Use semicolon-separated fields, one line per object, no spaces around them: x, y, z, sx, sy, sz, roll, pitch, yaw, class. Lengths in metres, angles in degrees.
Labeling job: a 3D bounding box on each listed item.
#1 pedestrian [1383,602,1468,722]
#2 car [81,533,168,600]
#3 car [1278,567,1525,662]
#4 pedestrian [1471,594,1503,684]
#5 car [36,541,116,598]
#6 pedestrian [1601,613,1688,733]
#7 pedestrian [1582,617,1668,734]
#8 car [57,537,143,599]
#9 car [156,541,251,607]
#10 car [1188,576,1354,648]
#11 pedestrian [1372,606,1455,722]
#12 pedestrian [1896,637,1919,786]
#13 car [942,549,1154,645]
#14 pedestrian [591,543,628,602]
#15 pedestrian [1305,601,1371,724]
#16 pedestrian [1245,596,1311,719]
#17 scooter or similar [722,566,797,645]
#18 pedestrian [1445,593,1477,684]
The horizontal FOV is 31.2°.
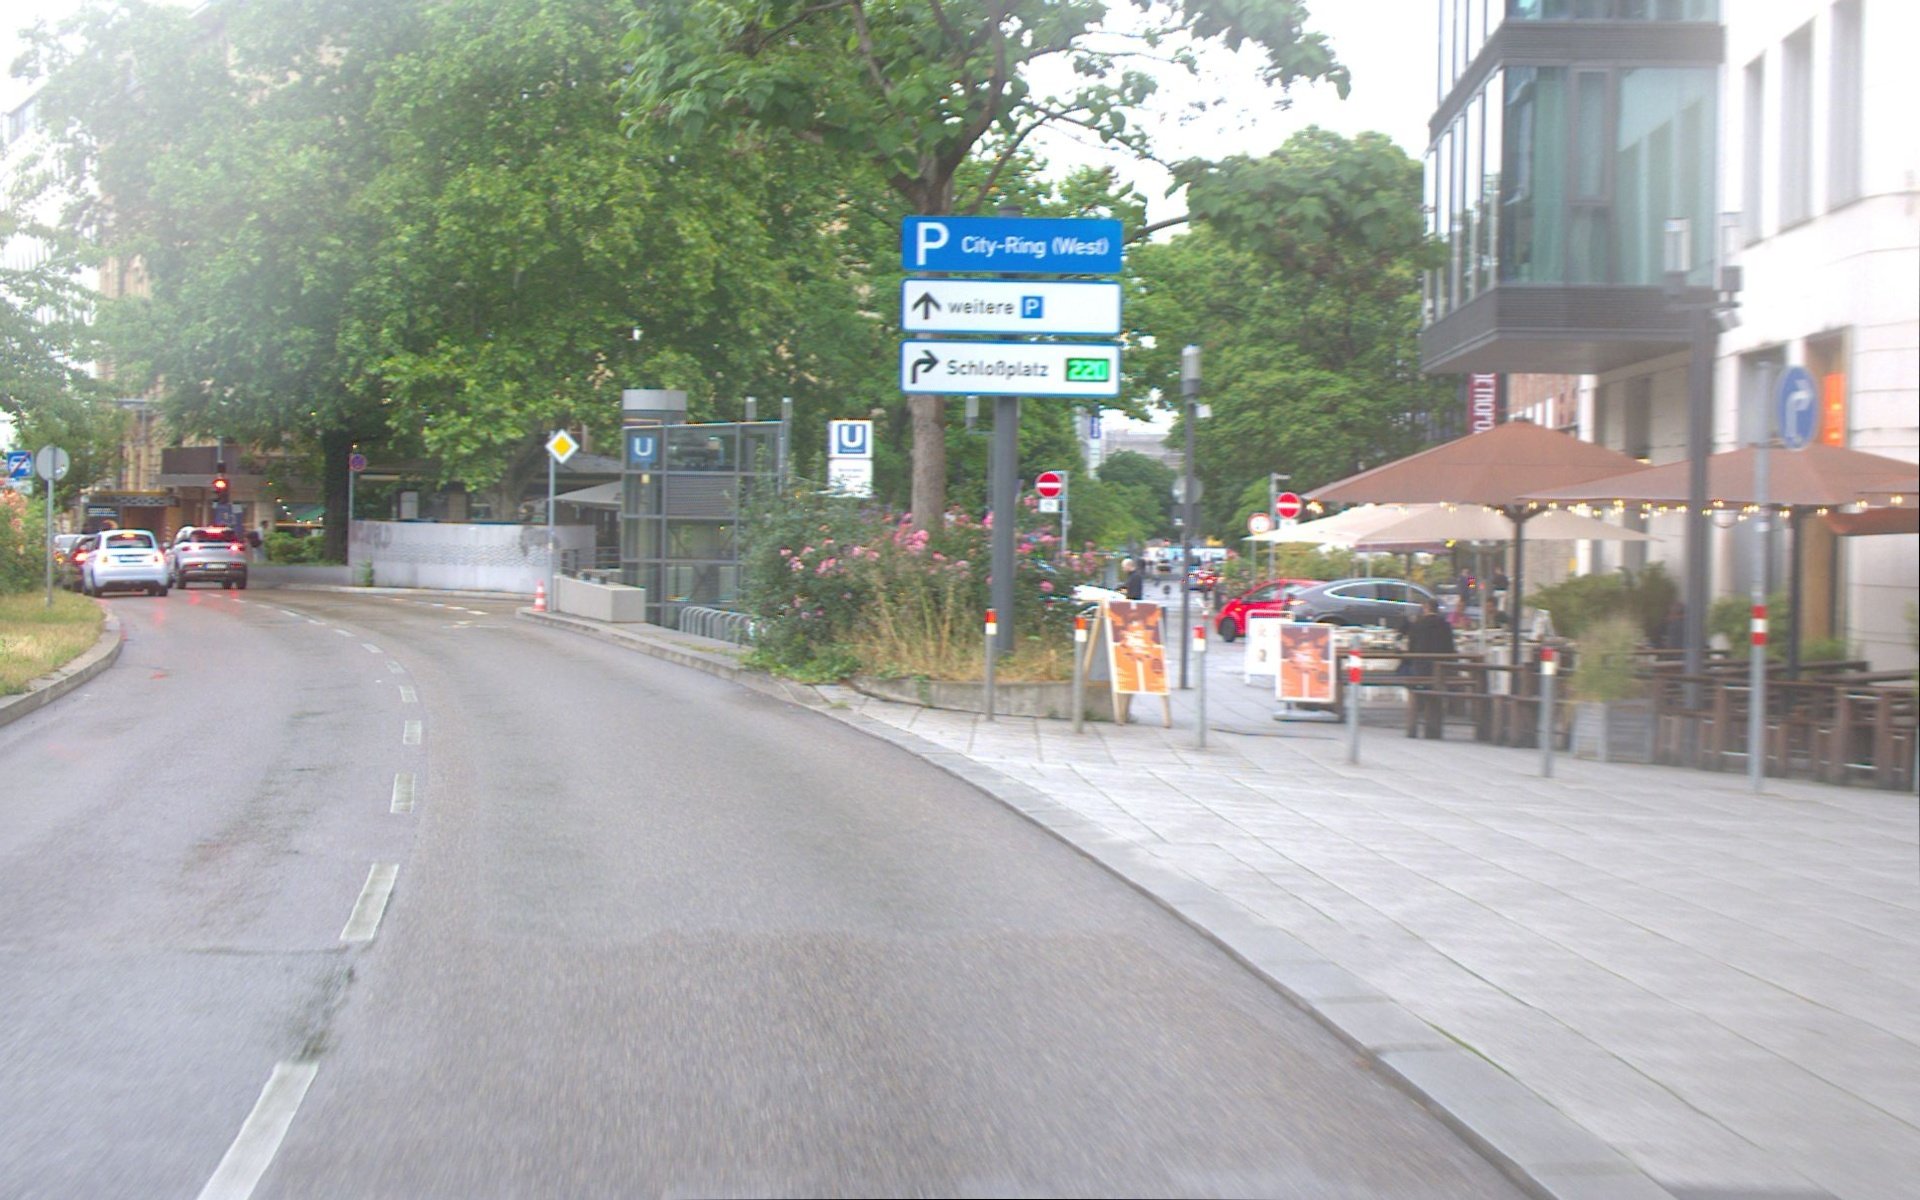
5.396;0.714;39.868;0.817;1.322;0.636;3;0;0;pedestrian
-19.245;-0.782;79.093;1.590;1.486;3.506;-1;1;-19;car
8.796;0.278;68.778;4.735;1.685;2.005;2;1;4;car
8.245;0.602;53.752;0.434;1.399;0.478;0;0;3;pedestrian
-23.587;-0.839;91.641;1.691;1.458;4.347;-1;1;-19;car
7.936;0.841;39.882;0.817;1.322;0.636;3;0;0;pedestrian
7.866;0.883;40.681;0.817;1.322;0.636;3;0;0;pedestrian
-21.390;-0.808;85.438;1.691;1.458;4.131;-1;1;-19;car
-20.157;-0.695;91.536;1.946;1.660;4.346;1;0;-19;car
6.895;0.266;76.481;1.609;1.411;3.528;3;1;-40;car
5.372;0.755;40.757;0.817;1.322;0.636;3;0;0;pedestrian
8.884;1.014;30.802;0.626;1.322;0.636;3;0;-20;pedestrian
1.748;-0.052;69.241;4.096;1.615;1.863;4;0;0;car
-8.520;-0.666;83.538;0.684;1.405;0.905;3;-1;-15;pedestrian
4.205;0.686;38.261;0.606;1.322;0.567;3;0;0;pedestrian
3.535;0.640;38.251;0.606;1.322;0.567;3;0;0;pedestrian
-3.210;0.085;55.115;1.112;1.233;0.365;2;1;-14;scooter or similar
7.772;0.599;53.388;0.434;1.399;0.478;0;0;3;pedestrian
